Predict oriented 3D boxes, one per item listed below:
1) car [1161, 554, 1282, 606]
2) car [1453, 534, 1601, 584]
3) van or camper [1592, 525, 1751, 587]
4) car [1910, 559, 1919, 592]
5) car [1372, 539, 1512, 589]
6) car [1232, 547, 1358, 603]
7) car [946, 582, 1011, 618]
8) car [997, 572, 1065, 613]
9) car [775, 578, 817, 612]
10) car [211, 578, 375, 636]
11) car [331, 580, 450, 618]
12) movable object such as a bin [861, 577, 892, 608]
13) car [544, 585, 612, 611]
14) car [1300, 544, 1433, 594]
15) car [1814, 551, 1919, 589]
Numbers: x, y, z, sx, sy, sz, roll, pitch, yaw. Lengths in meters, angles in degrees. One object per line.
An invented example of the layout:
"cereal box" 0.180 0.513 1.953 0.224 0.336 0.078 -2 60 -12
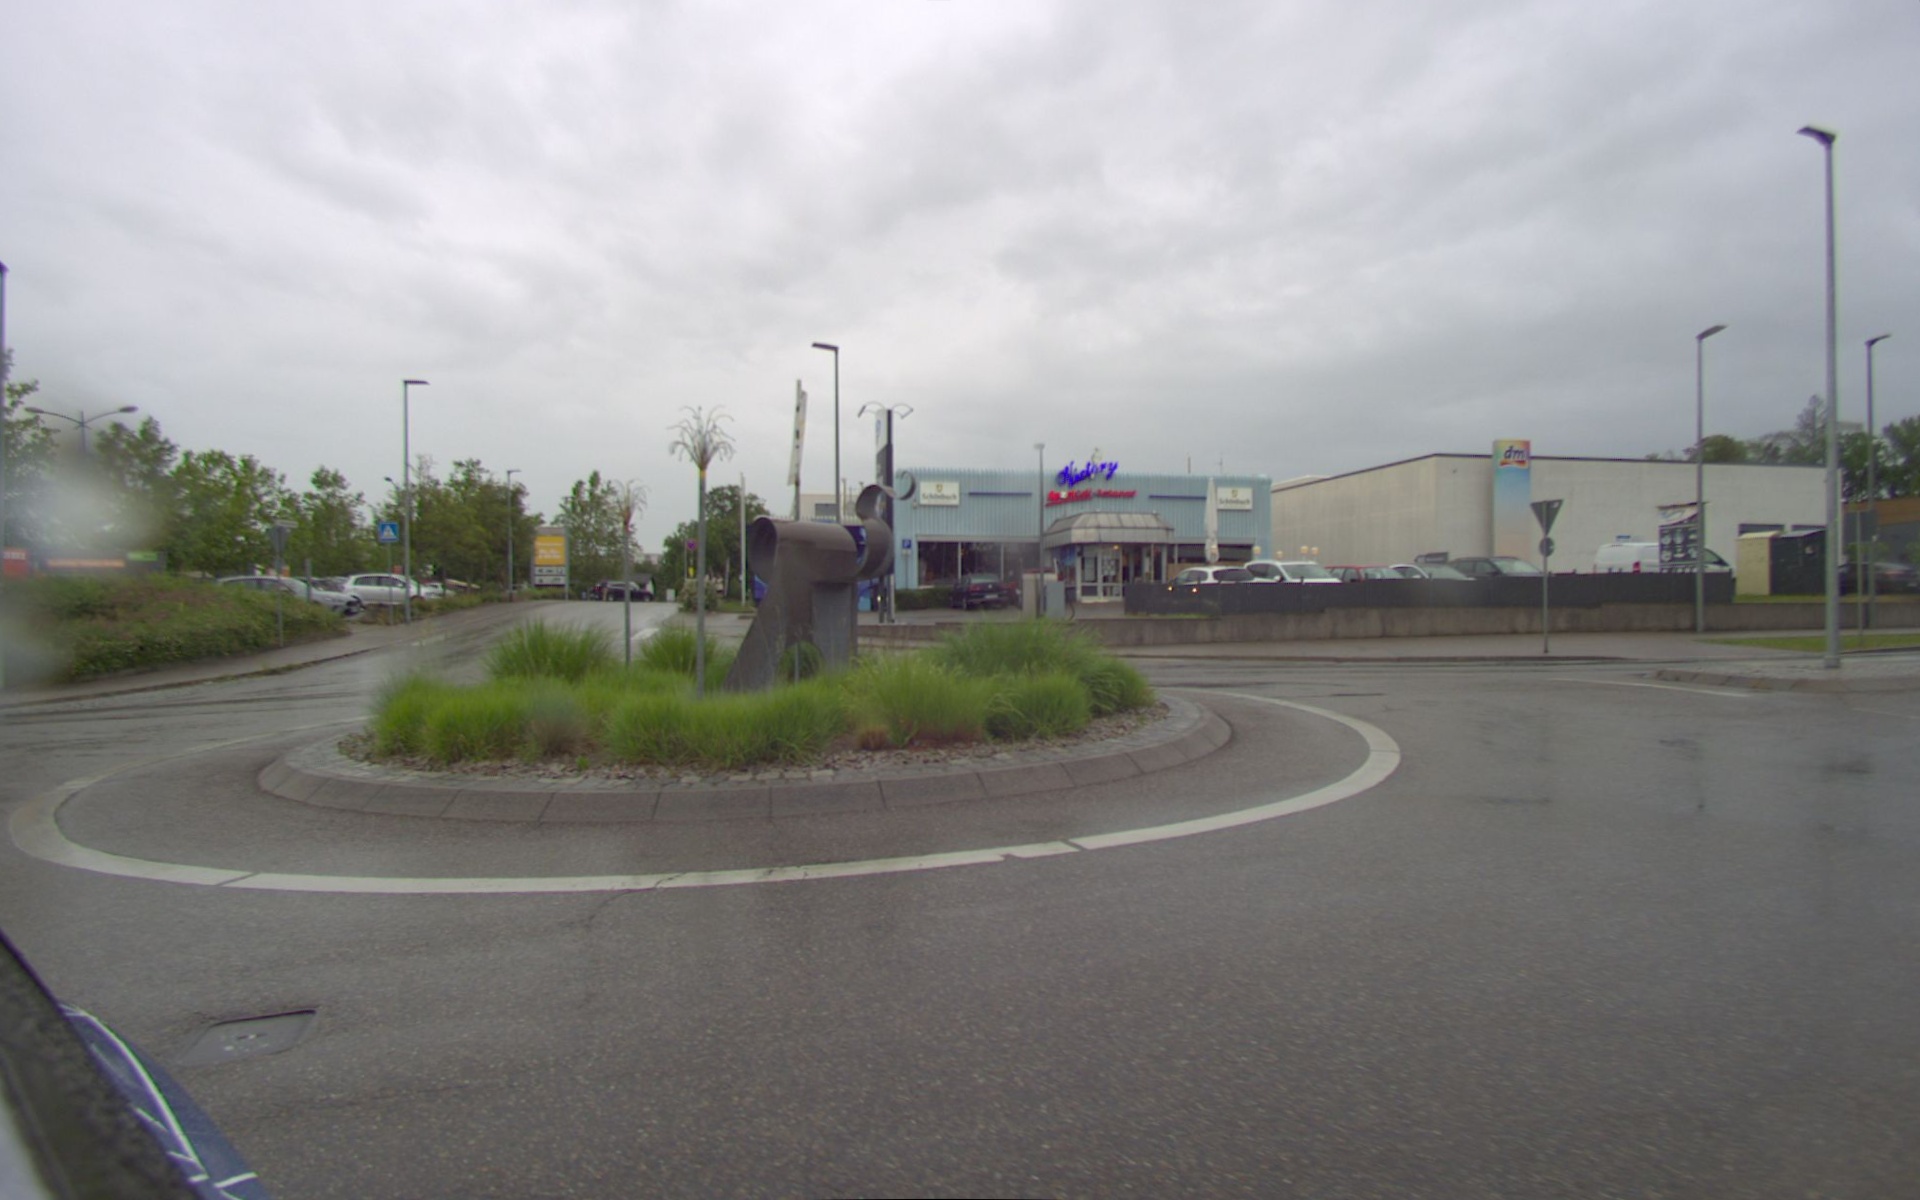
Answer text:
"car" 7.582 -0.553 29.756 1.858 1.305 4.009 -4 1 -10
"car" 17.672 -1.253 31.754 1.858 1.305 4.009 -4 1 -10
"van or camper" 24.452 -1.497 34.846 4.312 1.774 1.892 -4 1 -9
"car" 47.247 -1.205 47.628 3.933 1.563 1.799 -2 0 -14
"car" 14.826 -1.061 31.378 1.858 1.305 4.009 -4 1 -10
"car" 10.095 -0.719 30.822 1.764 1.563 4.010 -2 0 -13
"car" 0.698 -0.015 41.547 1.858 1.305 4.009 -4 1 -10
"car" 2.924 -0.308 42.488 1.858 1.497 4.009 -4 1 -10
"car" -8.189 -0.241 50.870 1.891 1.541 4.007 -3 0 -8
"car" -21.807 0.226 33.240 4.042 1.719 2.003 -2 0 -6
"car" -24.173 -0.038 43.088 3.936 1.453 2.004 -2 0 -9
"movable object such as a bin" -3.800 -0.328 45.805 1.195 1.305 1.482 -4 1 -10
"car" -25.558 -0.154 67.805 3.936 1.608 2.004 -2 0 -9
"car" 12.319 -0.897 30.986 1.858 1.305 4.009 -4 1 -10
"car" 40.781 -1.321 45.012 1.765 1.563 4.010 -2 0 -12
